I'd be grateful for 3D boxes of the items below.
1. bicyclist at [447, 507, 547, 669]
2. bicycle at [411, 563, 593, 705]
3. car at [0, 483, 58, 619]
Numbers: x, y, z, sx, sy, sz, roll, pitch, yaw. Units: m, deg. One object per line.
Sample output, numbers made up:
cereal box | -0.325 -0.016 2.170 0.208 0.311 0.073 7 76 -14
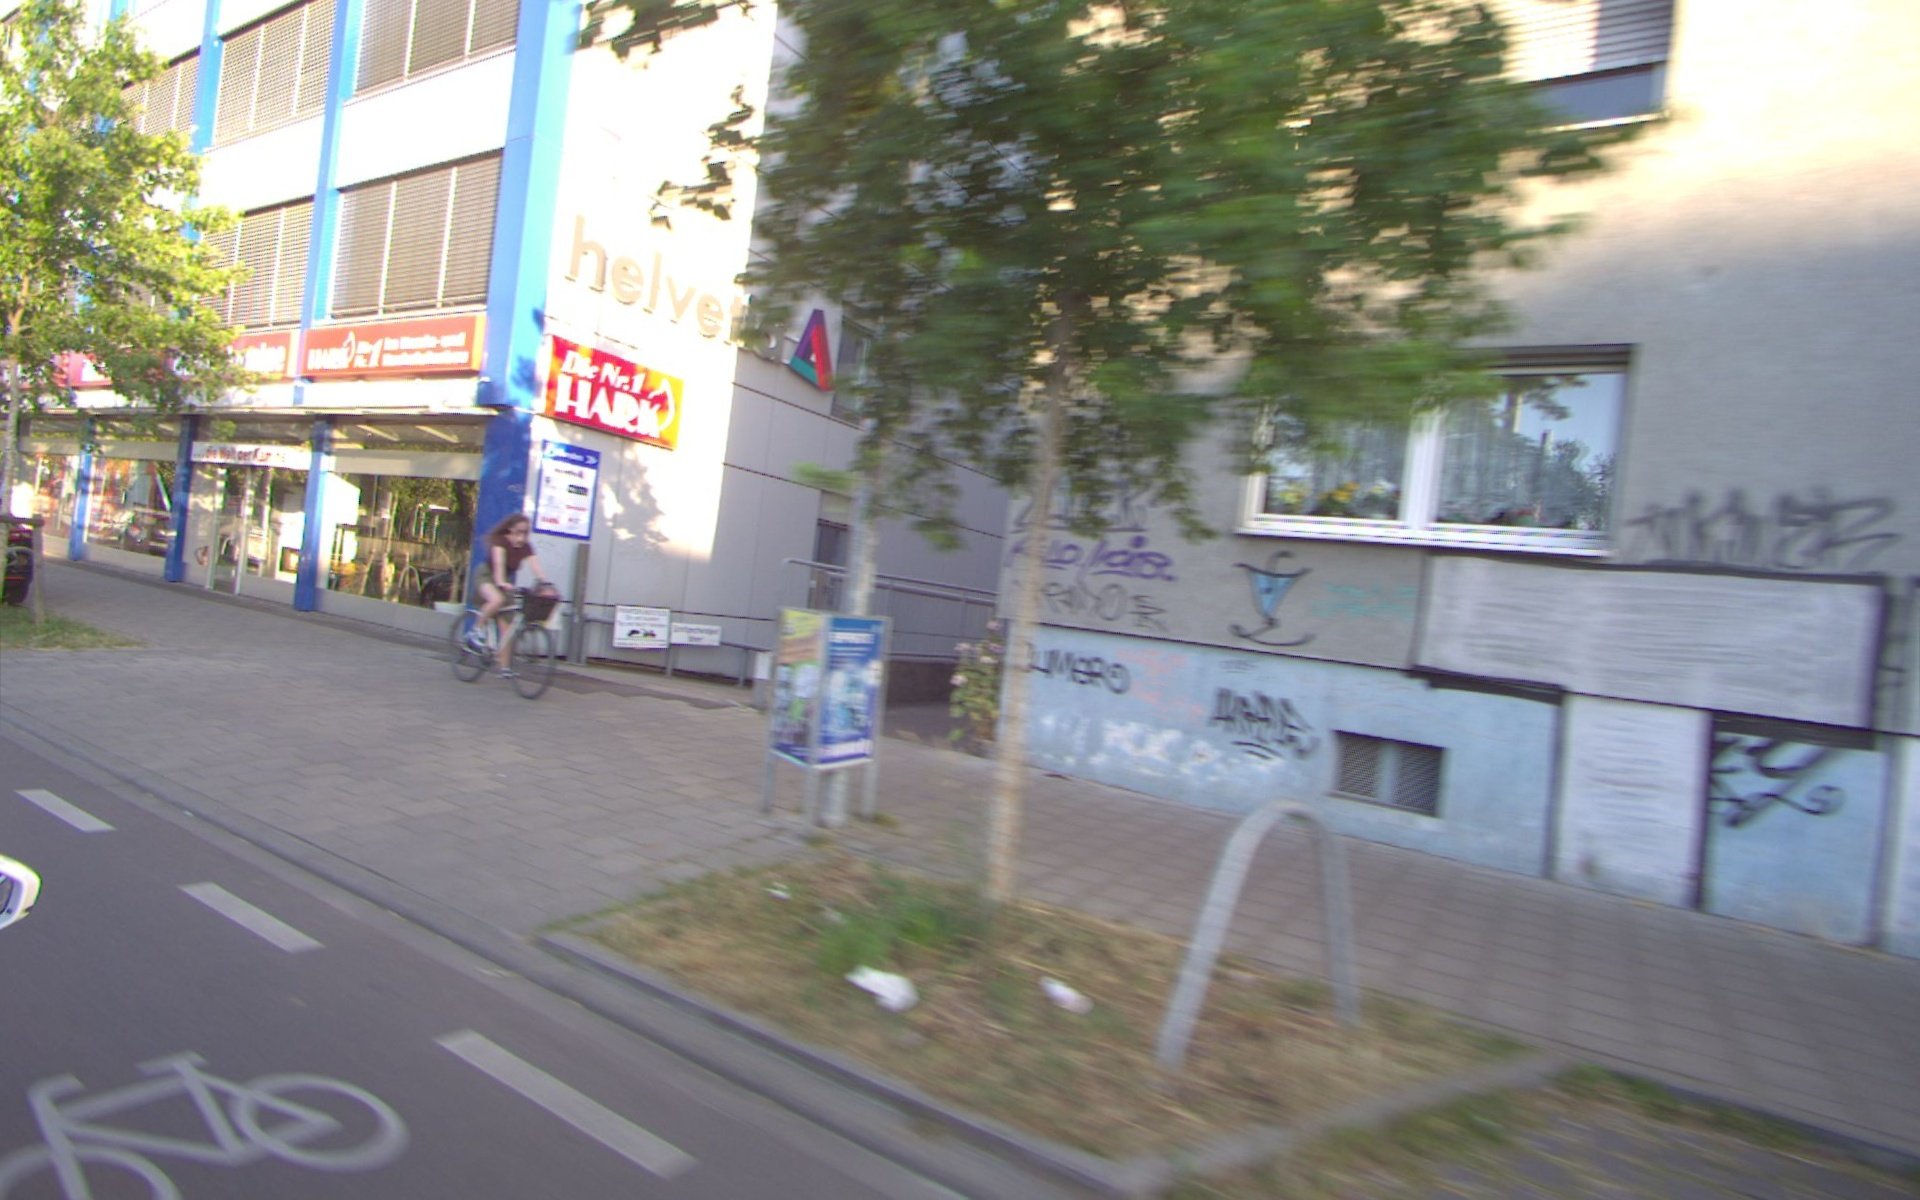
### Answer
bicyclist | -4.534 -0.117 9.858 0.612 1.495 0.558 6 3 30
bicycle | -4.505 0.300 9.843 1.941 1.145 0.554 6 3 30
car | -13.524 -0.808 12.704 4.729 1.588 1.819 7 3 30
